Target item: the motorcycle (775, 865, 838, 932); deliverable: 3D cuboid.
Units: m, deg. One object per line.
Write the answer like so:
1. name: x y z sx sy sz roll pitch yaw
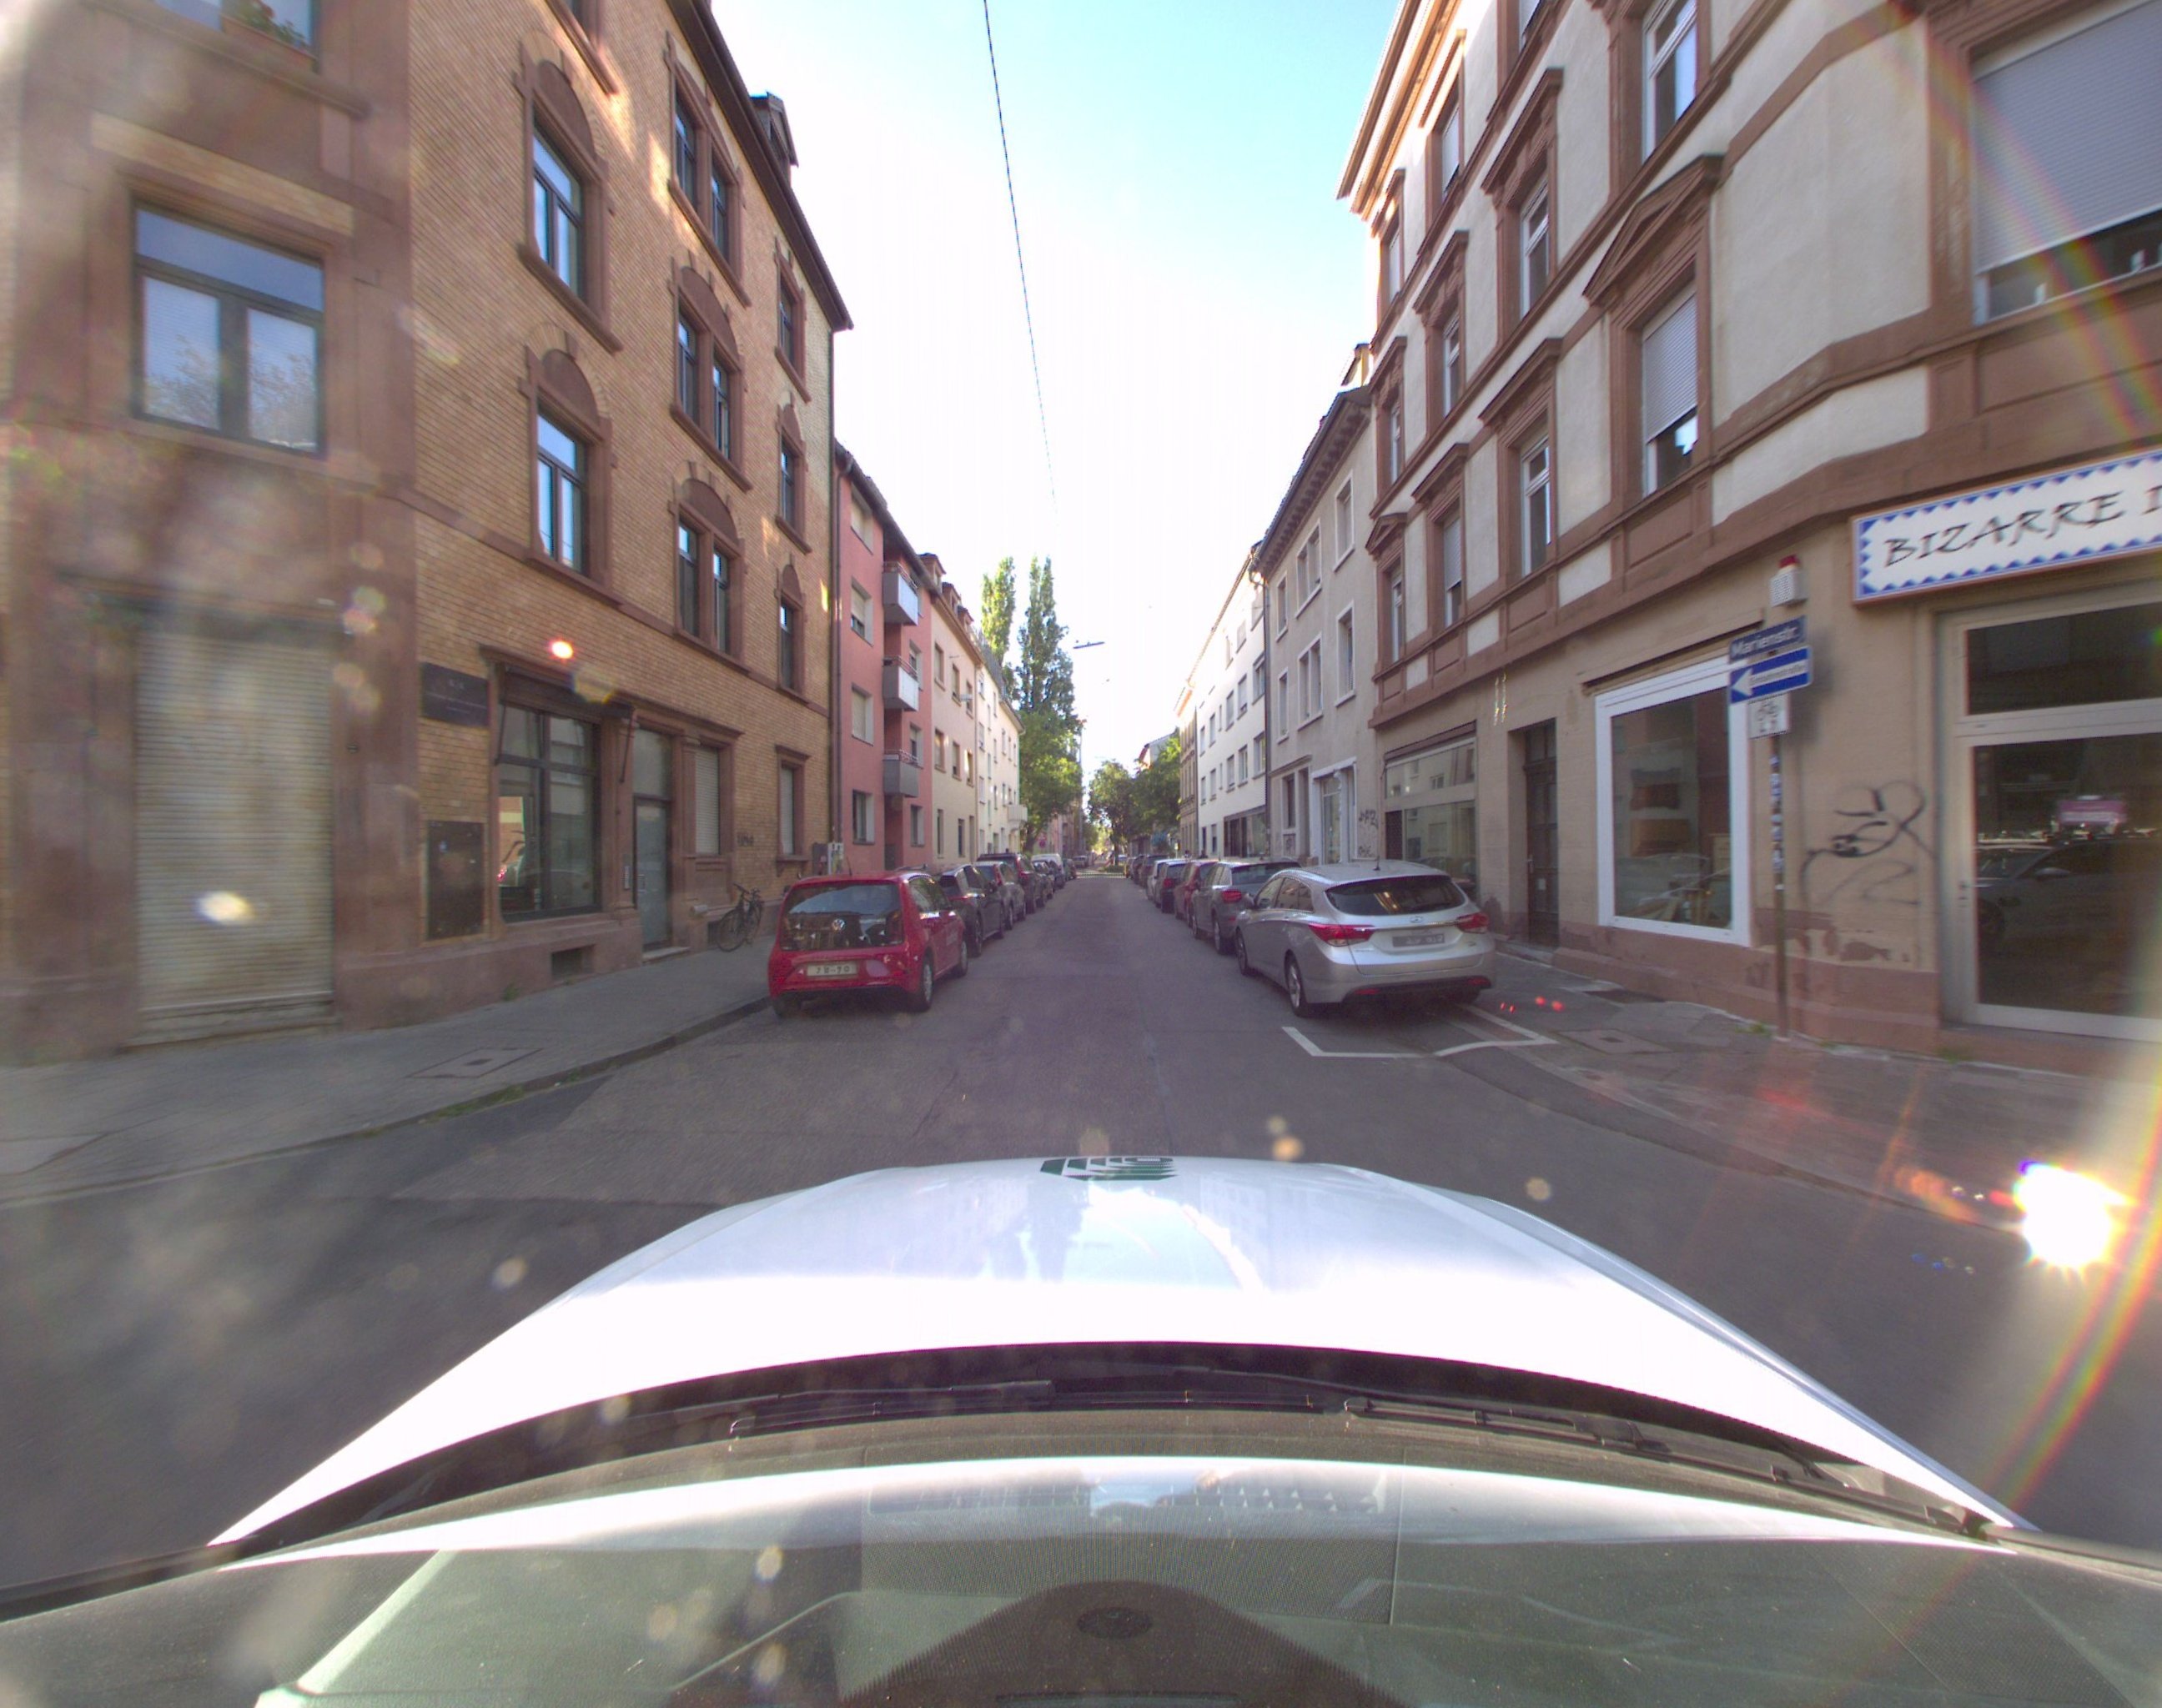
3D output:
1. motorcycle: -5.379 0.839 16.058 0.531 1.206 1.909 -1 0 2

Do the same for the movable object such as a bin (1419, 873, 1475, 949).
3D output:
1. movable object such as a bin: 5.270 0.809 11.742 0.512 1.039 0.620 -2 0 2

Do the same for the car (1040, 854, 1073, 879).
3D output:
1. car: -1.528 0.796 52.972 1.662 1.469 3.825 -2 0 5

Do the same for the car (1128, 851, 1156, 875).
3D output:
1. car: 4.145 0.593 55.648 1.670 1.561 3.796 -2 0 1

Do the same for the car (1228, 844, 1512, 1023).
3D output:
1. car: 2.952 0.698 9.385 1.738 1.506 4.358 -2 0 1

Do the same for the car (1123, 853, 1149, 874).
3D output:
1. car: 4.080 0.671 60.555 1.670 1.487 4.095 -2 0 1

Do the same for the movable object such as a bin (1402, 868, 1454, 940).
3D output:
1. movable object such as a bin: 5.317 0.755 12.496 0.512 1.039 0.594 -2 0 2

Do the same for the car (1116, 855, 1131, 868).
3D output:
1. car: 5.186 0.892 99.451 1.670 1.487 3.638 -2 0 1

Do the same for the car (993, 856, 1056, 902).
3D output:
1. car: -2.000 0.863 30.126 1.736 1.506 4.350 -2 0 3

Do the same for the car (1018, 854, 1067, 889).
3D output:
1. car: -1.807 0.806 39.562 1.665 1.486 3.999 -2 0 7

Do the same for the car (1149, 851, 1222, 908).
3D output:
1. car: 3.055 0.704 24.453 1.670 1.506 3.938 -2 0 1

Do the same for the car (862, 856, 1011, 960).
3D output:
1. car: -2.423 0.848 14.700 1.688 1.521 4.099 -2 0 3

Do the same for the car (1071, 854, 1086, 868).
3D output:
1. car: -0.332 0.824 98.221 1.670 1.487 4.095 -2 0 1

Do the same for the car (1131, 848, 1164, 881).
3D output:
1. car: 3.727 0.591 46.087 1.669 1.681 4.097 -2 -1 3

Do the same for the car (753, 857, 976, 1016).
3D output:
1. car: -2.384 0.827 9.889 1.622 1.481 3.601 -2 0 1

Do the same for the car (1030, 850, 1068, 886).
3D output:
1. car: -1.680 0.702 44.185 1.759 1.785 4.039 -2 0 1

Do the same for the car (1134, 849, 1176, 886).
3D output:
1. car: 3.693 0.649 41.123 1.670 1.627 4.251 -5 0 1

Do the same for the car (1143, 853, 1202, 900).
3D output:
1. car: 3.220 0.738 29.283 1.670 1.506 3.938 -2 0 1

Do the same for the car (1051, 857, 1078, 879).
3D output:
1. car: -1.098 0.948 57.339 1.664 1.361 4.050 -2 0 1

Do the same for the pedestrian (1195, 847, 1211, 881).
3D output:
1. pedestrian: 6.083 0.488 40.520 0.683 1.660 0.717 -1 0 1

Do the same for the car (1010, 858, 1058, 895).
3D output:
1. car: -1.968 0.931 35.169 1.667 1.388 4.183 -2 0 1

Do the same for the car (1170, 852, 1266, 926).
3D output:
1. car: 3.137 0.737 19.400 1.593 1.506 4.185 -2 0 1

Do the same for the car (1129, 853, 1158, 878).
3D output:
1. car: 3.911 0.704 51.435 1.561 1.483 3.619 -2 0 1

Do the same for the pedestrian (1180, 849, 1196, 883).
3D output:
1. pedestrian: 5.322 0.600 40.475 0.683 1.660 0.717 -1 0 1

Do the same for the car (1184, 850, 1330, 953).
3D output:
1. car: 2.970 0.727 14.581 1.738 1.506 4.021 -2 0 1

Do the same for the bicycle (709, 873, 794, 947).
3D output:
1. bicycle: -5.464 0.901 13.639 0.531 1.074 1.892 4 0 2

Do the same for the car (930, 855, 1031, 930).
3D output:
1. car: -2.286 0.835 19.529 1.649 1.521 3.947 -2 0 3

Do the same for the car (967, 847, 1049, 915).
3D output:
1. car: -2.108 0.735 24.769 1.736 1.811 4.676 -2 0 3
